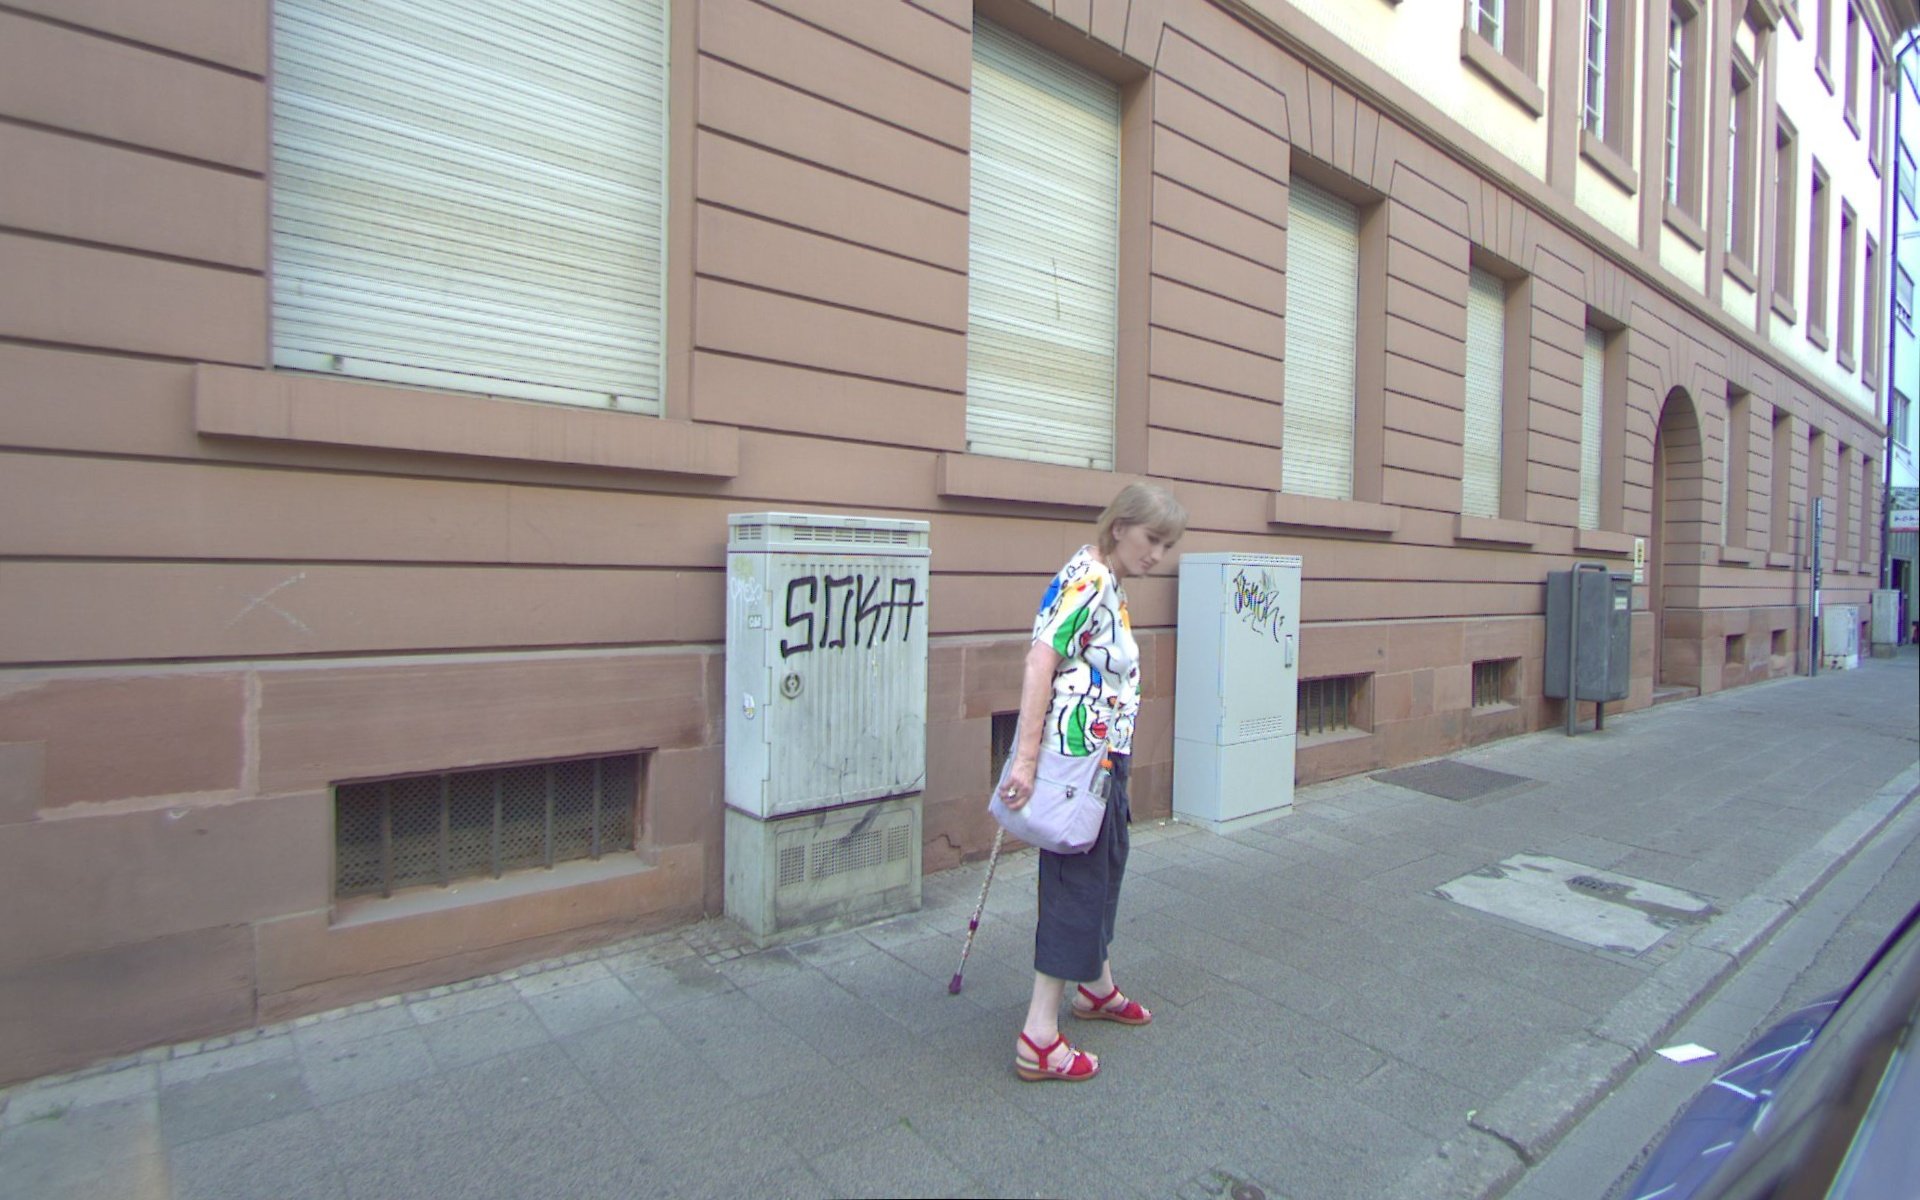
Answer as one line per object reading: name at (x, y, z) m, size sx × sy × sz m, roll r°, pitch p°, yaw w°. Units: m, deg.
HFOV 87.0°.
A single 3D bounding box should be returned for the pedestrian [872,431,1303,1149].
pedestrian at (0.355, 0.429, 2.988) m, size 0.798 × 1.691 × 0.929 m, roll 0°, pitch 2°, yaw -42°
